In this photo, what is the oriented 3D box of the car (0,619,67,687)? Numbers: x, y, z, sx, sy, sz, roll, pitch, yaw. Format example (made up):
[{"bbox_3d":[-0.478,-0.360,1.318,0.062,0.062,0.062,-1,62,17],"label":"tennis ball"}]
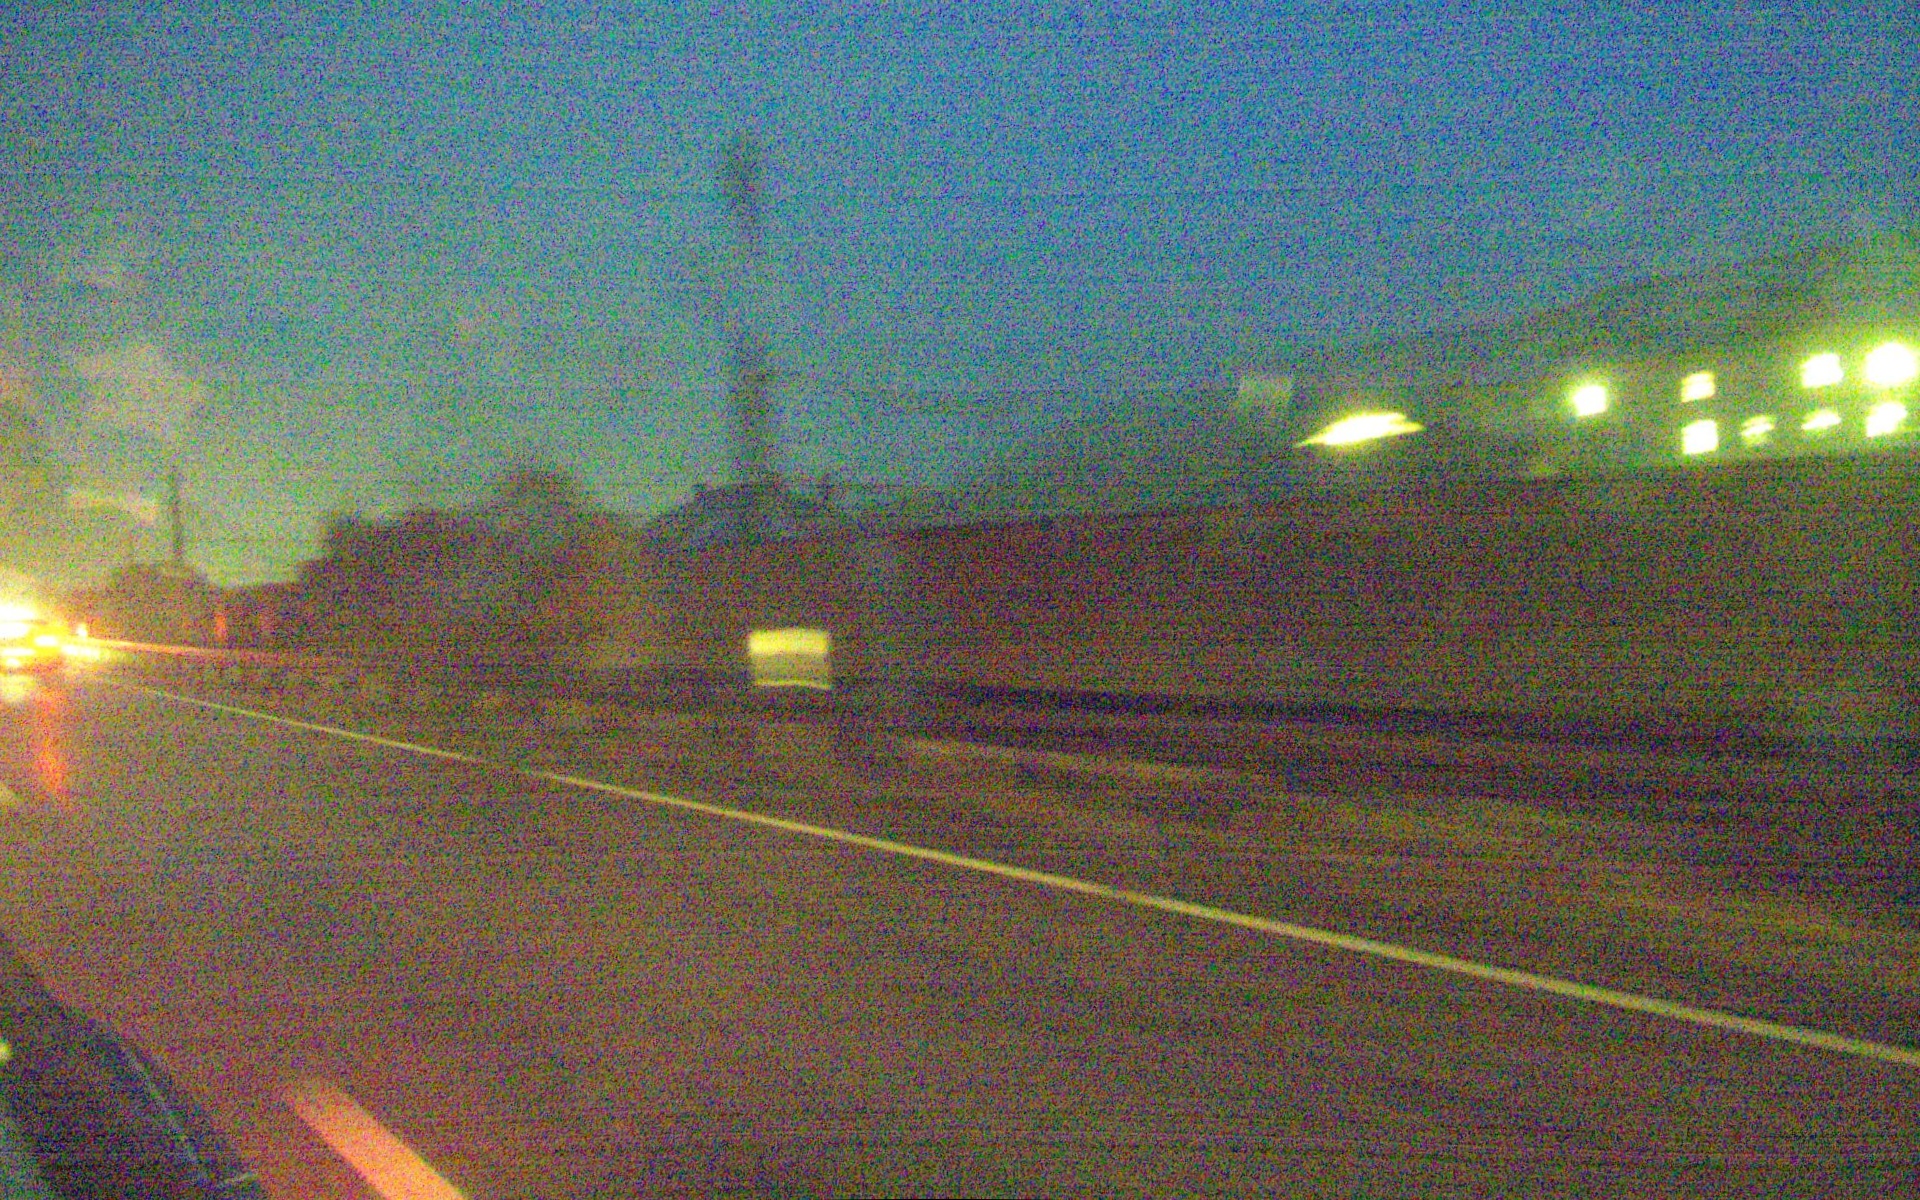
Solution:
[{"bbox_3d":[-22.557,1.216,23.825,4.067,1.494,1.813,-1,-1,41],"label":"car"}]
